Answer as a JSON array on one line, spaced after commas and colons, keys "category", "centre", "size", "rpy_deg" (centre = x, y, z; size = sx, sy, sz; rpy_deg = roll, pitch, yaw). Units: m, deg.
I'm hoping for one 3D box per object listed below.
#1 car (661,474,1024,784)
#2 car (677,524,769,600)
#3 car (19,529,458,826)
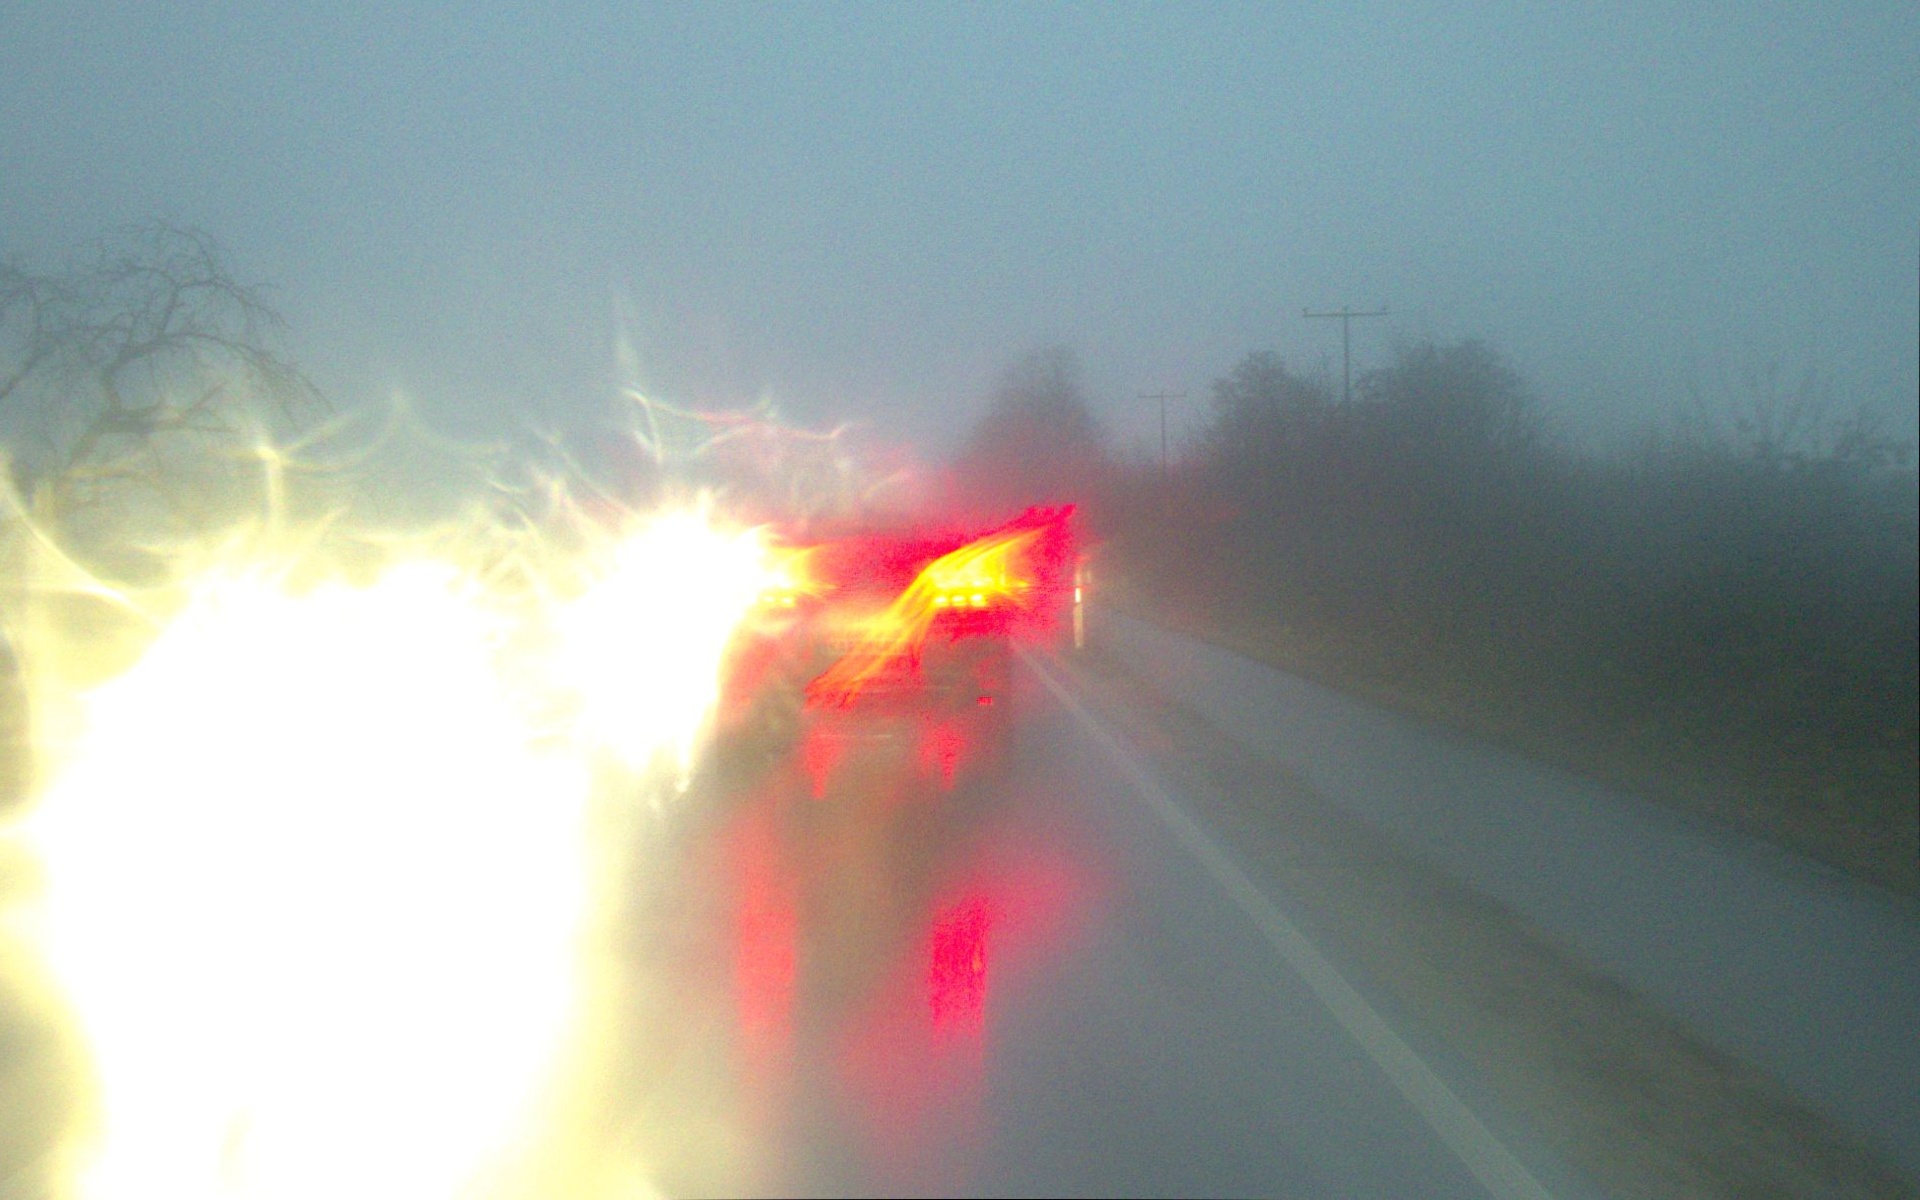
[{"category": "car", "centre": [-0.707, 0.116, 22.607], "size": [2.120, 1.813, 4.980], "rpy_deg": [0, 1, 0]}, {"category": "car", "centre": [-5.169, -0.851, 75.414], "size": [1.761, 1.550, 4.000], "rpy_deg": [-2, 1, -1]}, {"category": "car", "centre": [-4.198, 0.367, 20.695], "size": [1.855, 1.512, 4.517], "rpy_deg": [-2, 1, -3]}]
